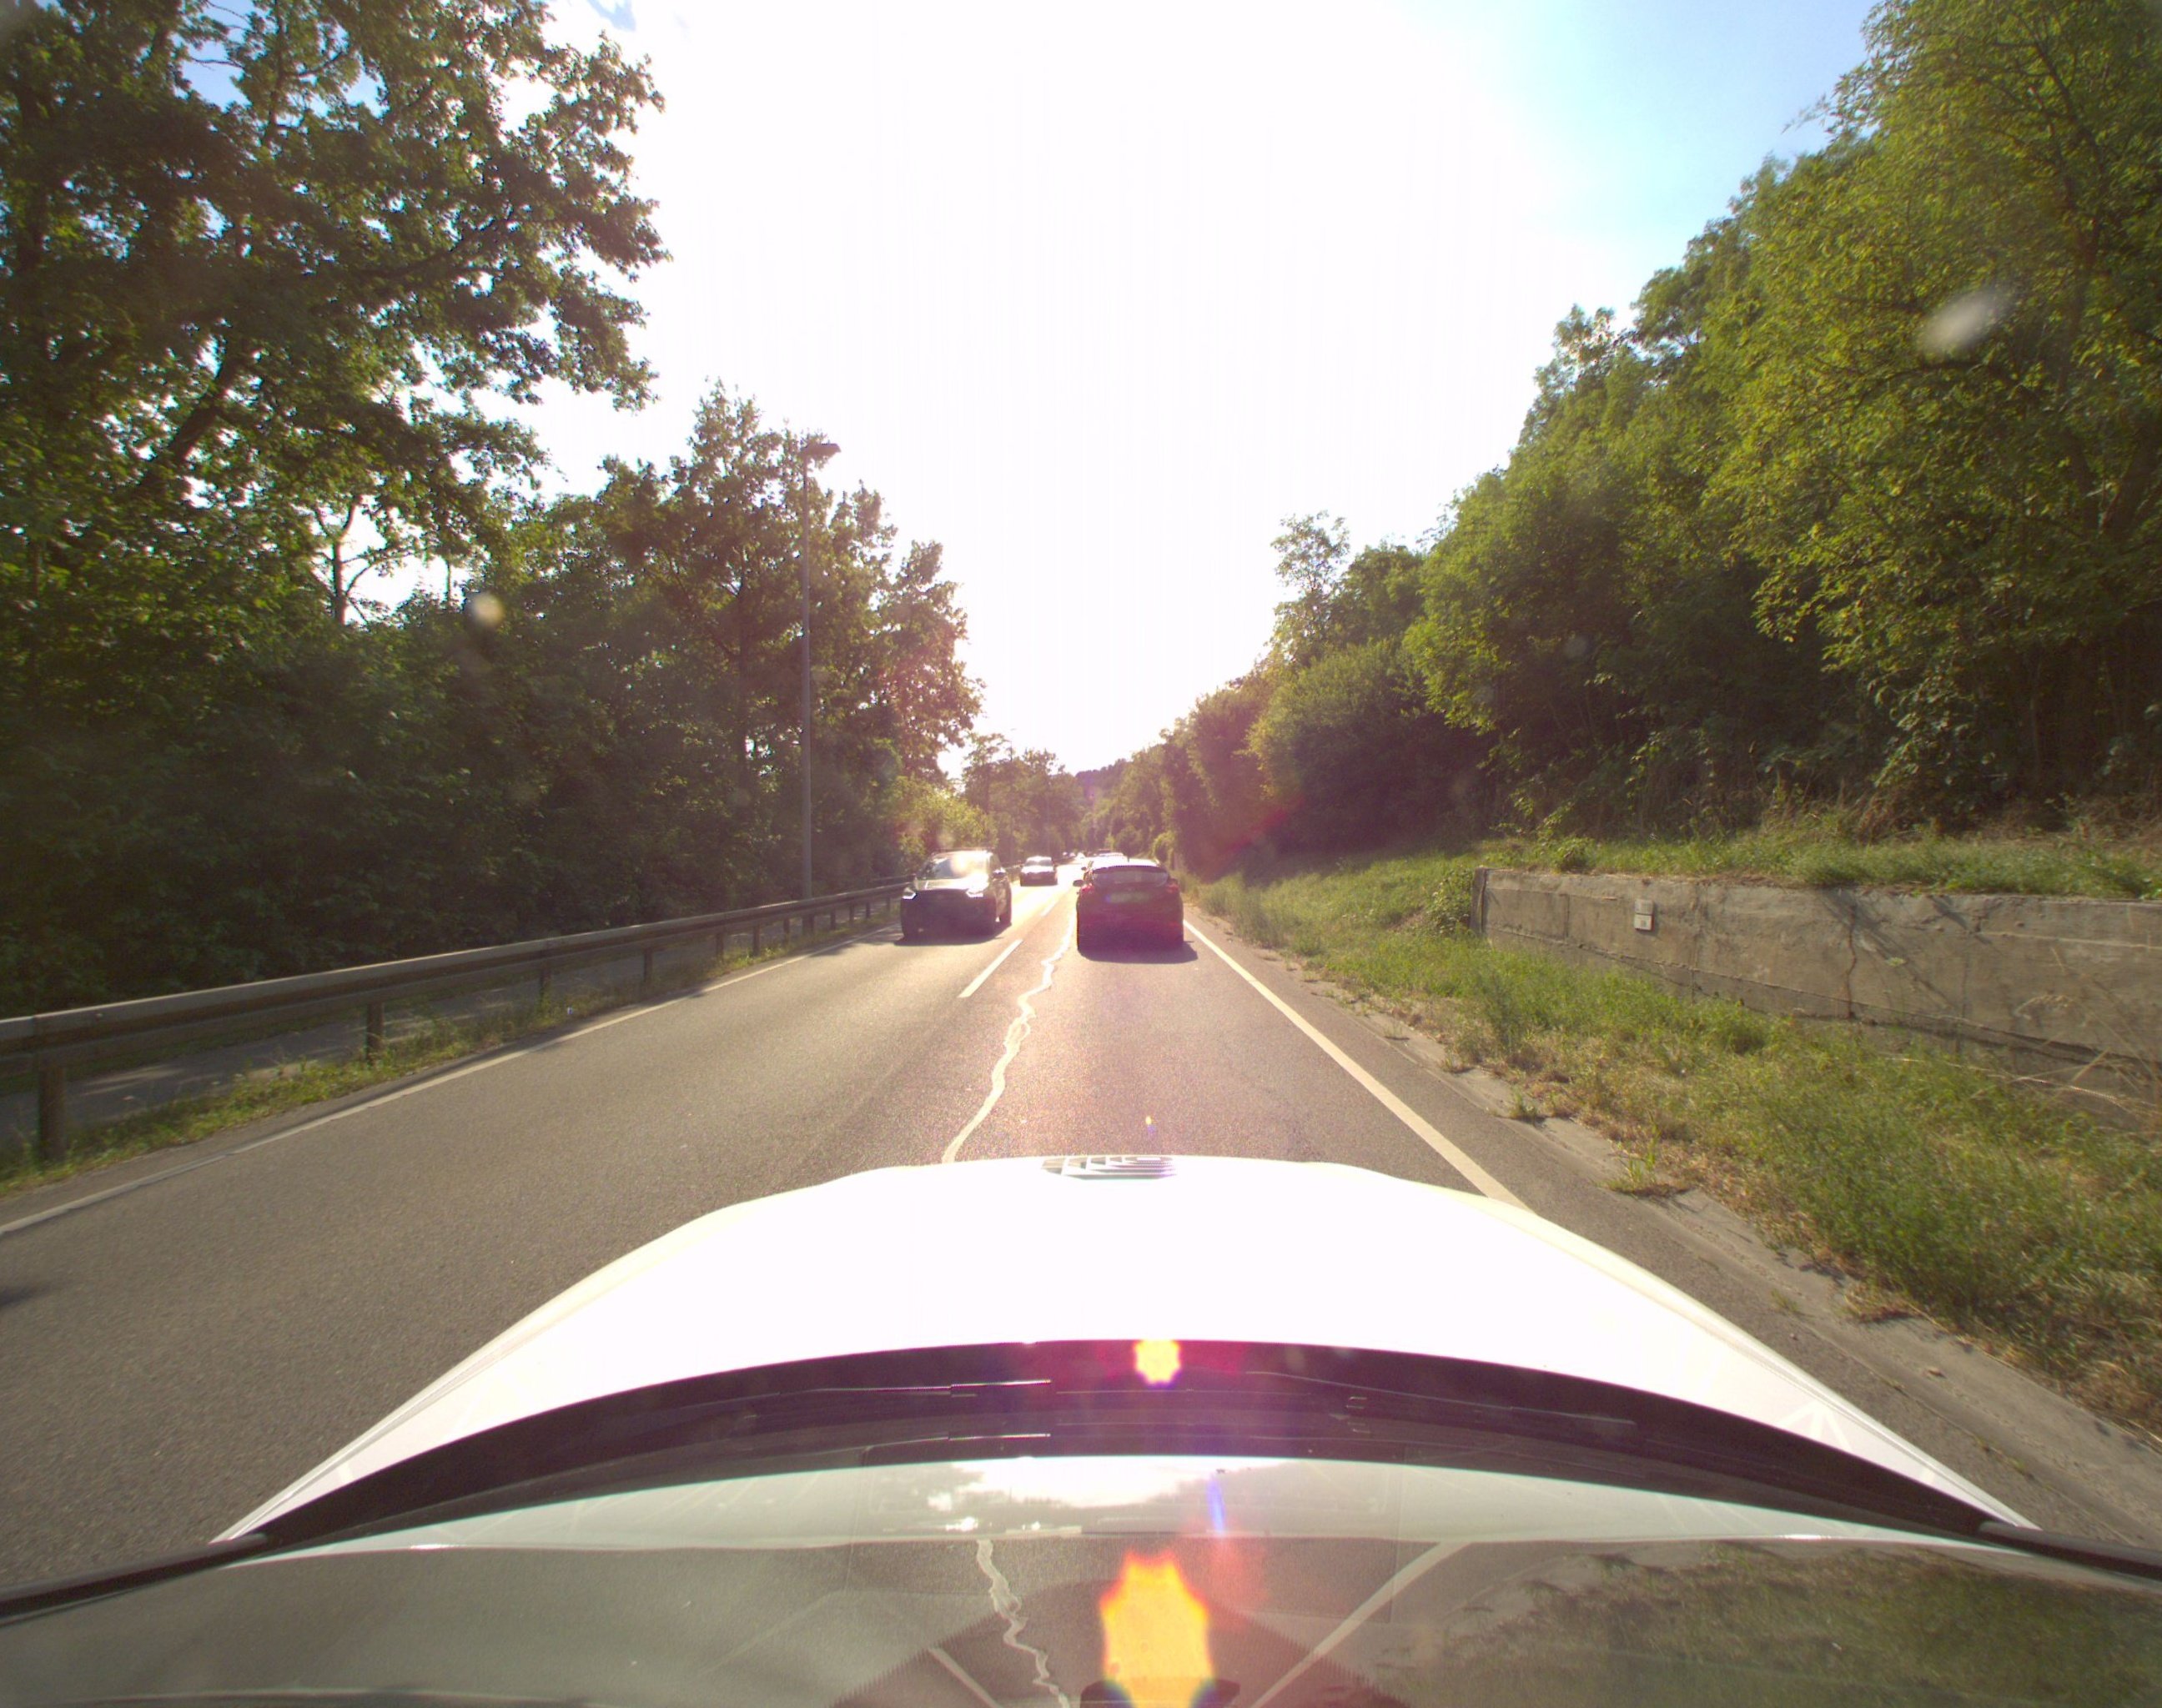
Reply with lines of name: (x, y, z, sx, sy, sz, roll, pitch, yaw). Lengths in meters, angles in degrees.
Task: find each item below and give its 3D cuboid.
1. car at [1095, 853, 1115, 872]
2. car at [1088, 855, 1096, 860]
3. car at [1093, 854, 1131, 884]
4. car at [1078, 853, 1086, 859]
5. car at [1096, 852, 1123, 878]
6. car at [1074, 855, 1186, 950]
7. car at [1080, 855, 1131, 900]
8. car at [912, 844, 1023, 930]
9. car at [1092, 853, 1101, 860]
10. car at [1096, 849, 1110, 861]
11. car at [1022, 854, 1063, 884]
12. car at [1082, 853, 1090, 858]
car: (2.120, 0.711, 71.813, 1.624, 1.596, 4.002, -2, 0, 2)
car: (3.174, 0.987, 235.484, 1.991, 1.519, 3.992, -2, 0, -6)
car: (1.554, 0.719, 41.143, 1.798, 1.391, 4.002, -2, 0, 2)
car: (0.220, 0.557, 215.268, 1.620, 1.377, 4.040, -3, 0, -5)
car: (1.833, 0.667, 52.059, 1.624, 1.596, 4.002, -2, 0, 2)
car: (0.829, 0.768, 14.751, 1.733, 1.456, 4.002, -1, 0, 2)
car: (0.922, 0.785, 28.967, 1.654, 1.418, 4.003, -1, 0, 3)
car: (-2.480, 0.681, 18.844, 1.741, 1.717, 4.224, -2, 0, 3)
car: (4.069, 0.651, 214.323, 1.991, 1.519, 3.992, -2, 0, -6)
car: (3.185, 0.150, 120.048, 1.857, 1.780, 3.999, -2, 0, -1)
car: (-1.994, 0.756, 43.238, 1.684, 1.420, 4.146, -2, 0, 3)
car: (1.581, 0.522, 250.523, 1.991, 1.519, 3.992, -2, 0, -6)
